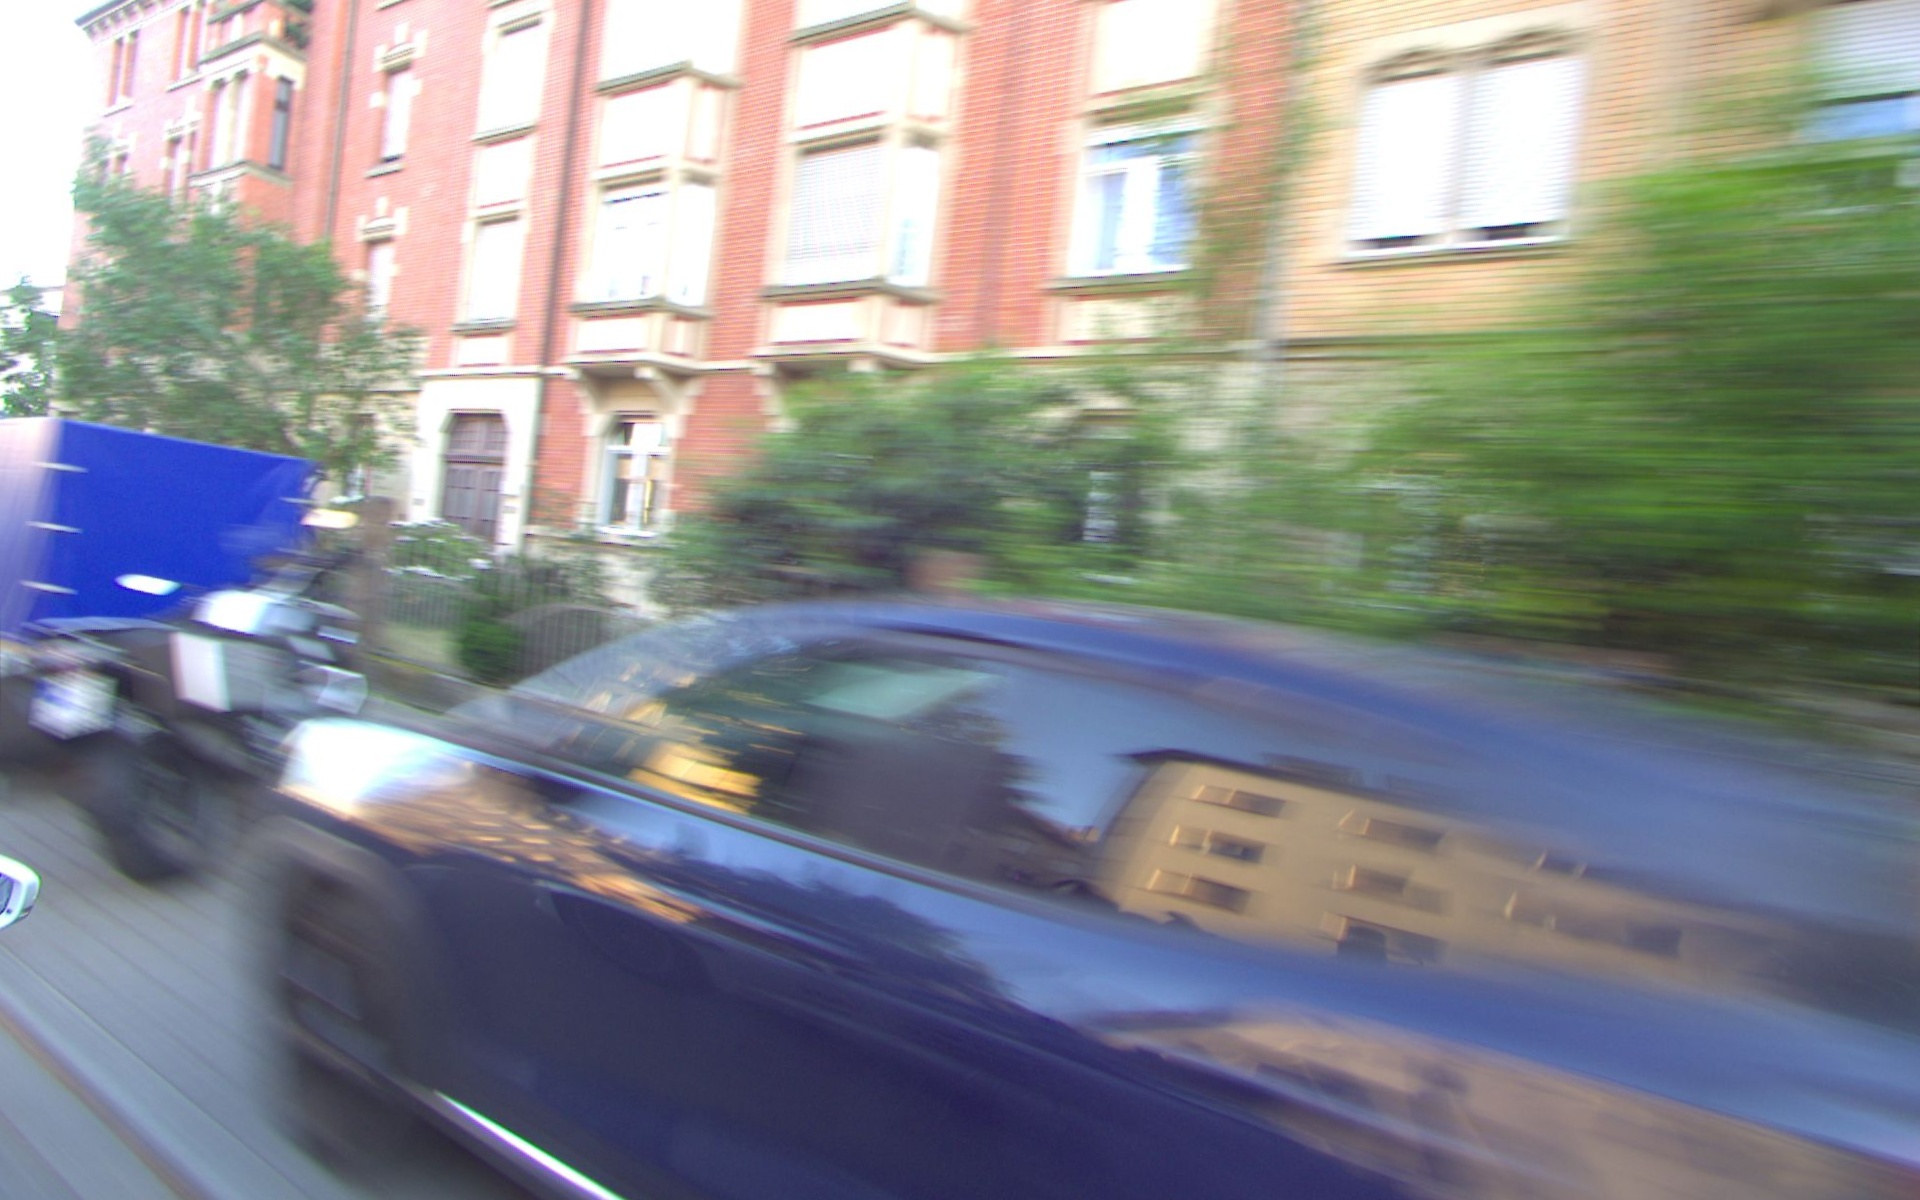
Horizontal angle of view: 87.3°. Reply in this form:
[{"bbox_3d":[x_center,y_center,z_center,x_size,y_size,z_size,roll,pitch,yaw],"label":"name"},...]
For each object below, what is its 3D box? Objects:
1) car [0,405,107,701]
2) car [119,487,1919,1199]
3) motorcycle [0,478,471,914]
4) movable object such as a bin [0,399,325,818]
[{"bbox_3d":[-9.205,-0.601,8.068,5.452,2.065,1.863,7,1,31],"label":"car"},{"bbox_3d":[-0.080,0.737,2.387,4.256,1.569,1.722,7,-1,34],"label":"car"},{"bbox_3d":[-3.365,0.317,4.641,1.112,1.501,2.093,6,1,-1],"label":"motorcycle"},{"bbox_3d":[-5.001,-0.026,5.690,2.286,1.902,1.413,7,2,31],"label":"movable object such as a bin"}]
